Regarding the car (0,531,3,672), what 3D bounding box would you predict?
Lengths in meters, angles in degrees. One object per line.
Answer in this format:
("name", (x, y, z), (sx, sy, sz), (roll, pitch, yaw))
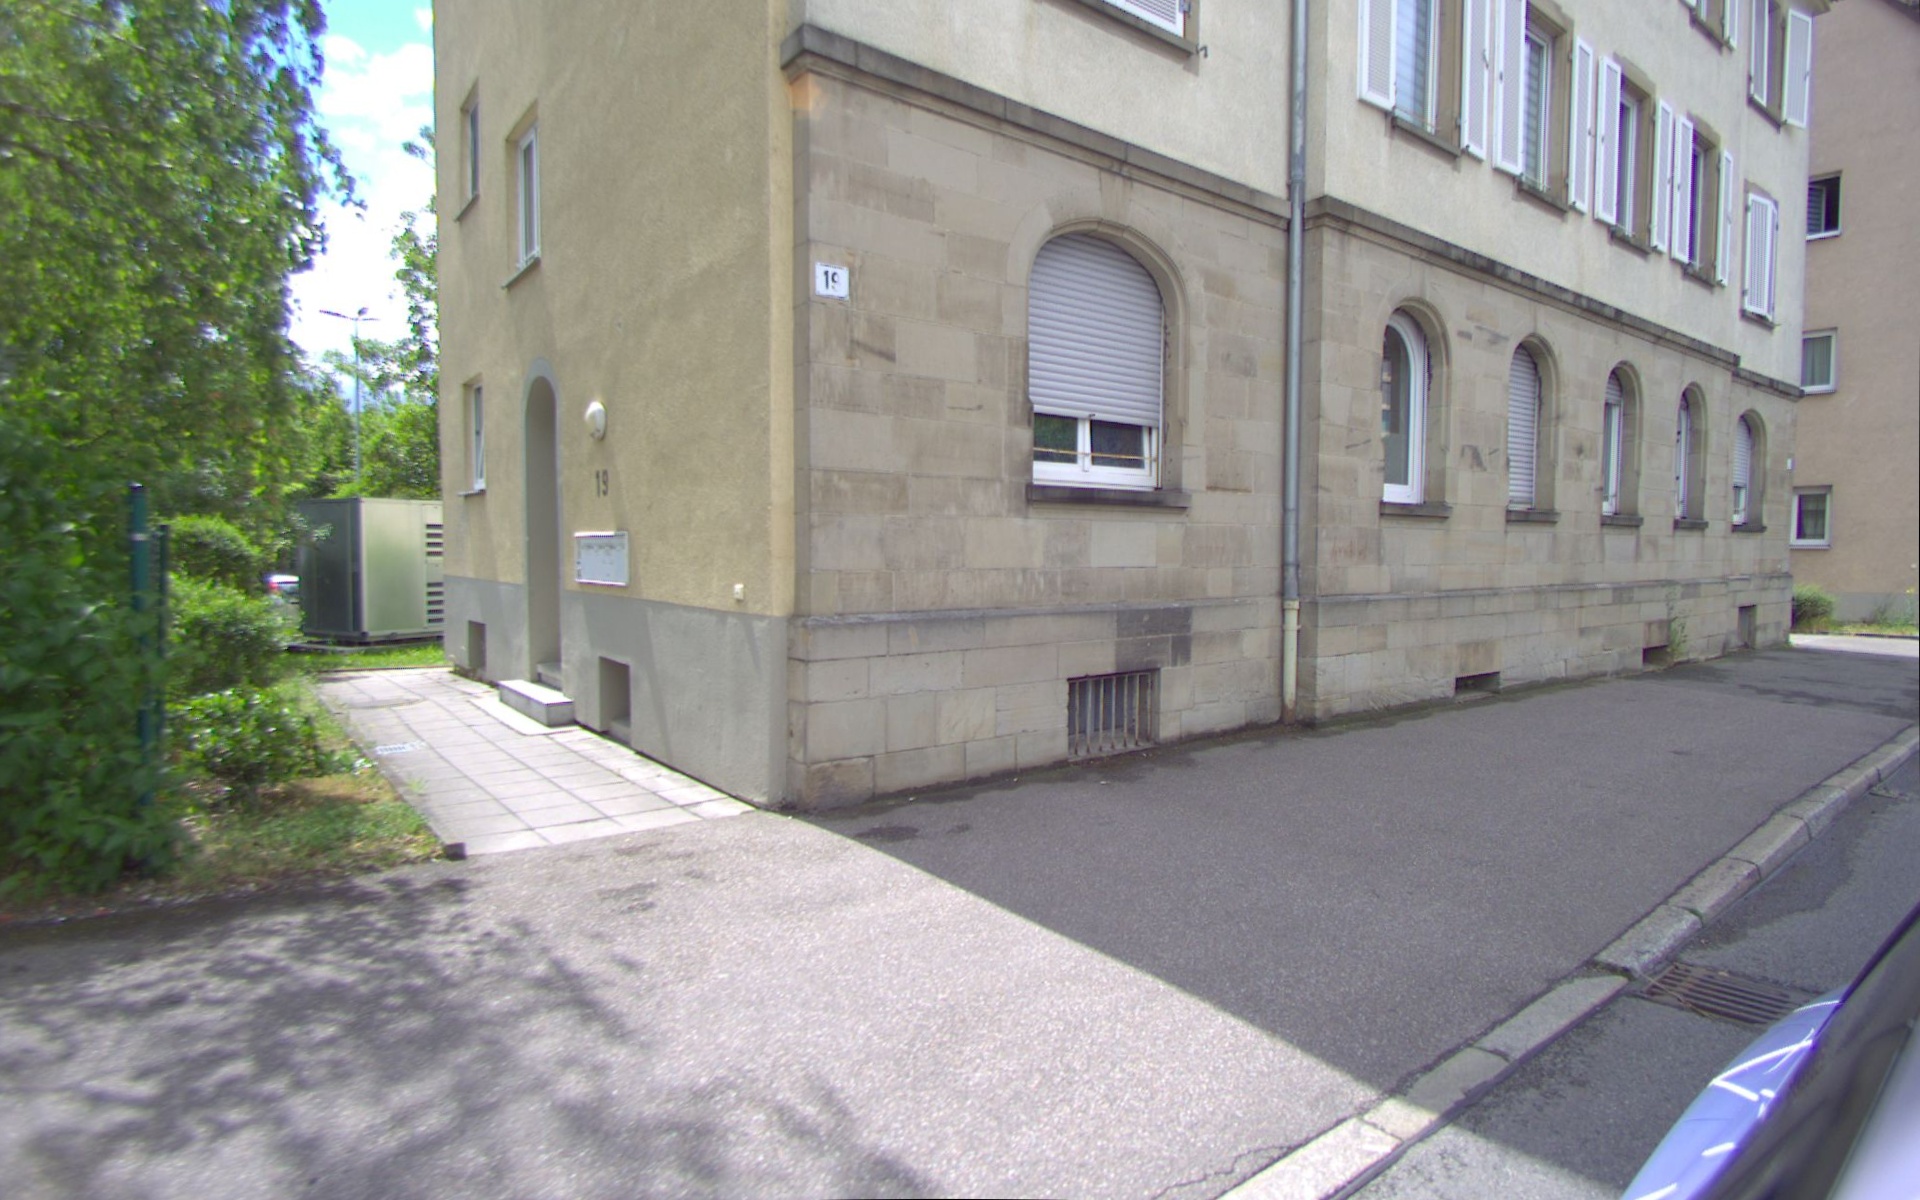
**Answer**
("car", (-13.292, 0.022, 10.950), (1.870, 1.644, 4.214), (1, 2, 44))
